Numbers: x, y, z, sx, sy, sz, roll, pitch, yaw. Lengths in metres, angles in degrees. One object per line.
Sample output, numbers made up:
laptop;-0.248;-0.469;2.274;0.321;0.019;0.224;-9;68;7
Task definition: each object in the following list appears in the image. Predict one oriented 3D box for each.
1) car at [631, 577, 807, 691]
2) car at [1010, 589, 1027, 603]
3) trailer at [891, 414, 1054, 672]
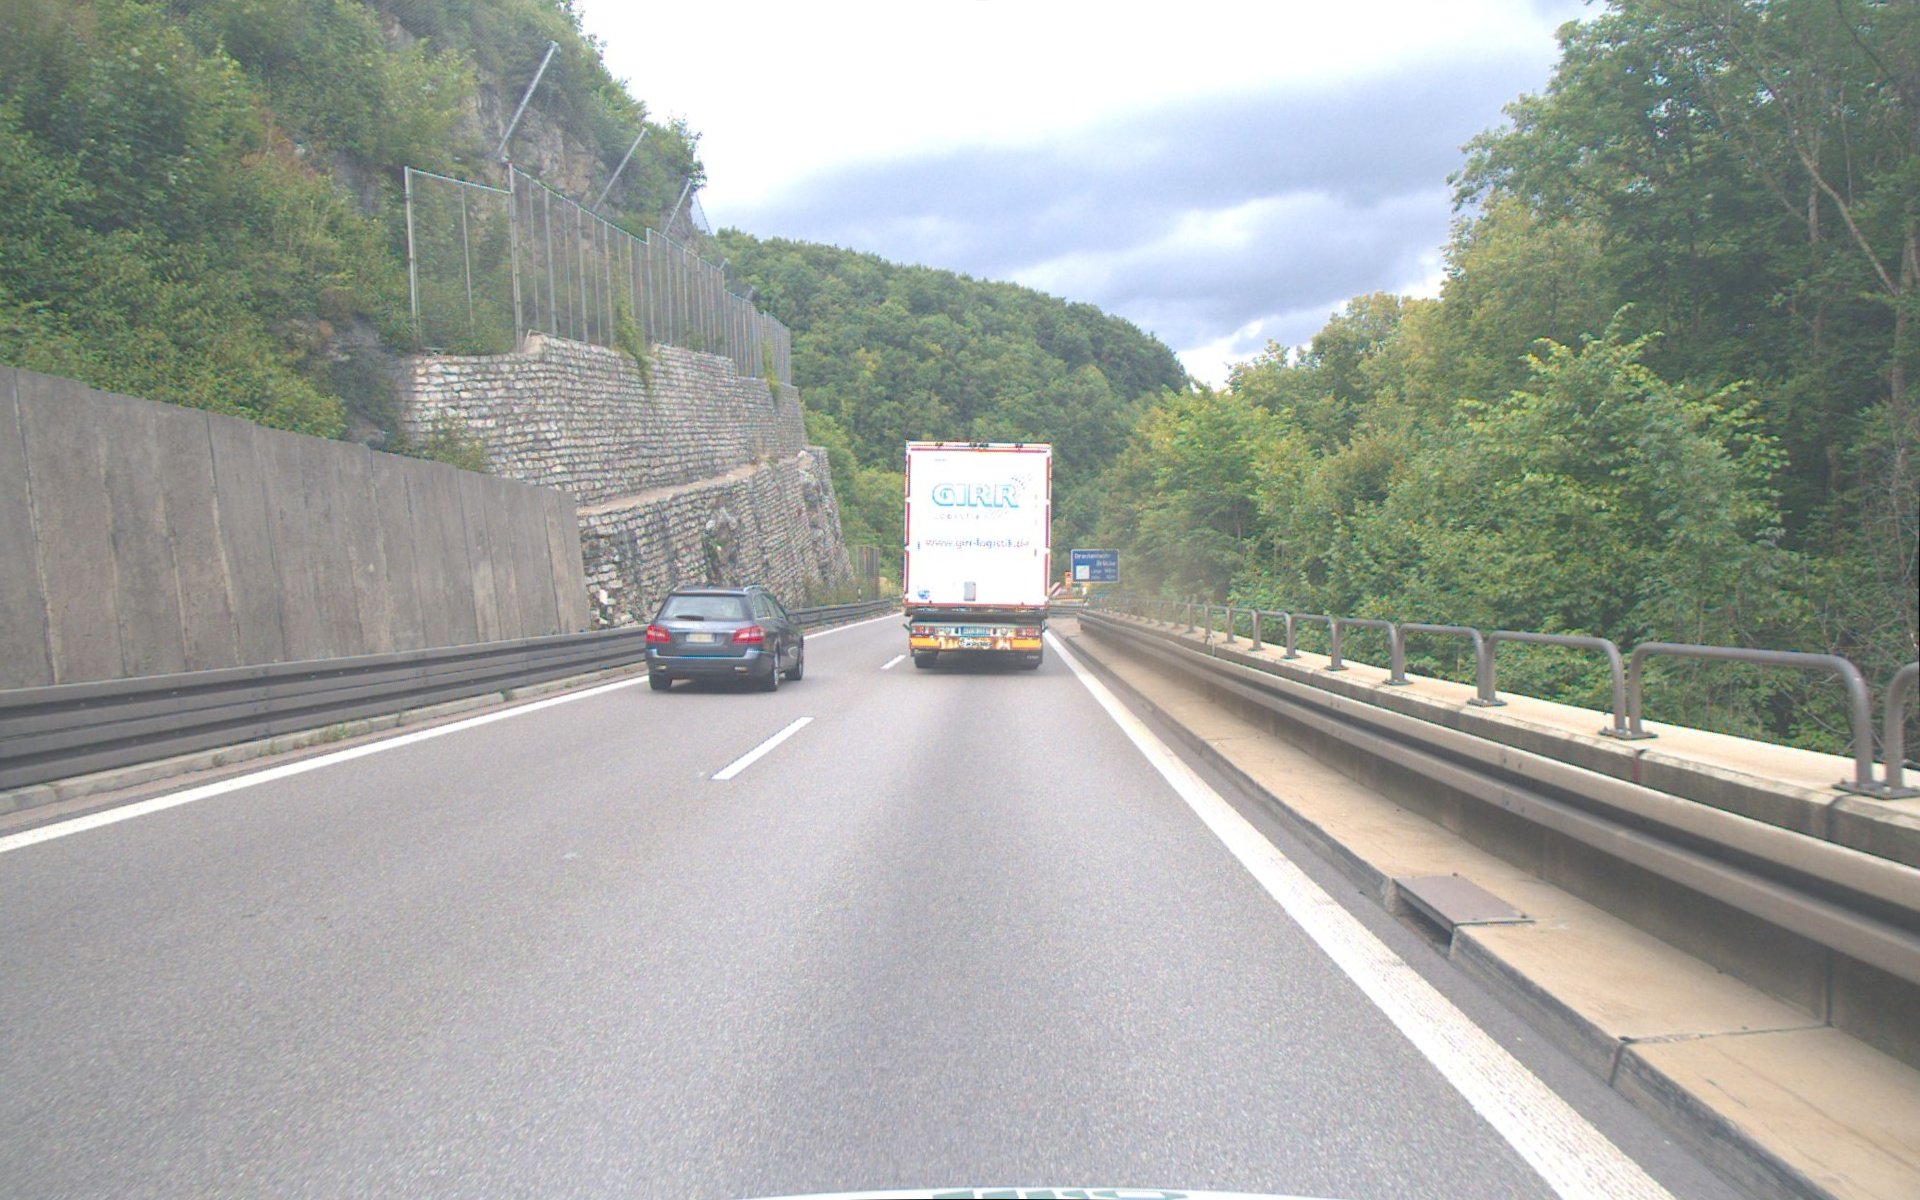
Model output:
car;-3.479;0.462;24.652;1.844;1.536;4.420;0;0;2
car;7.565;-0.562;214.038;1.951;1.795;4.002;0;0;5
trailer;0.438;-0.963;34.254;2.755;4.378;12.248;0;0;2
